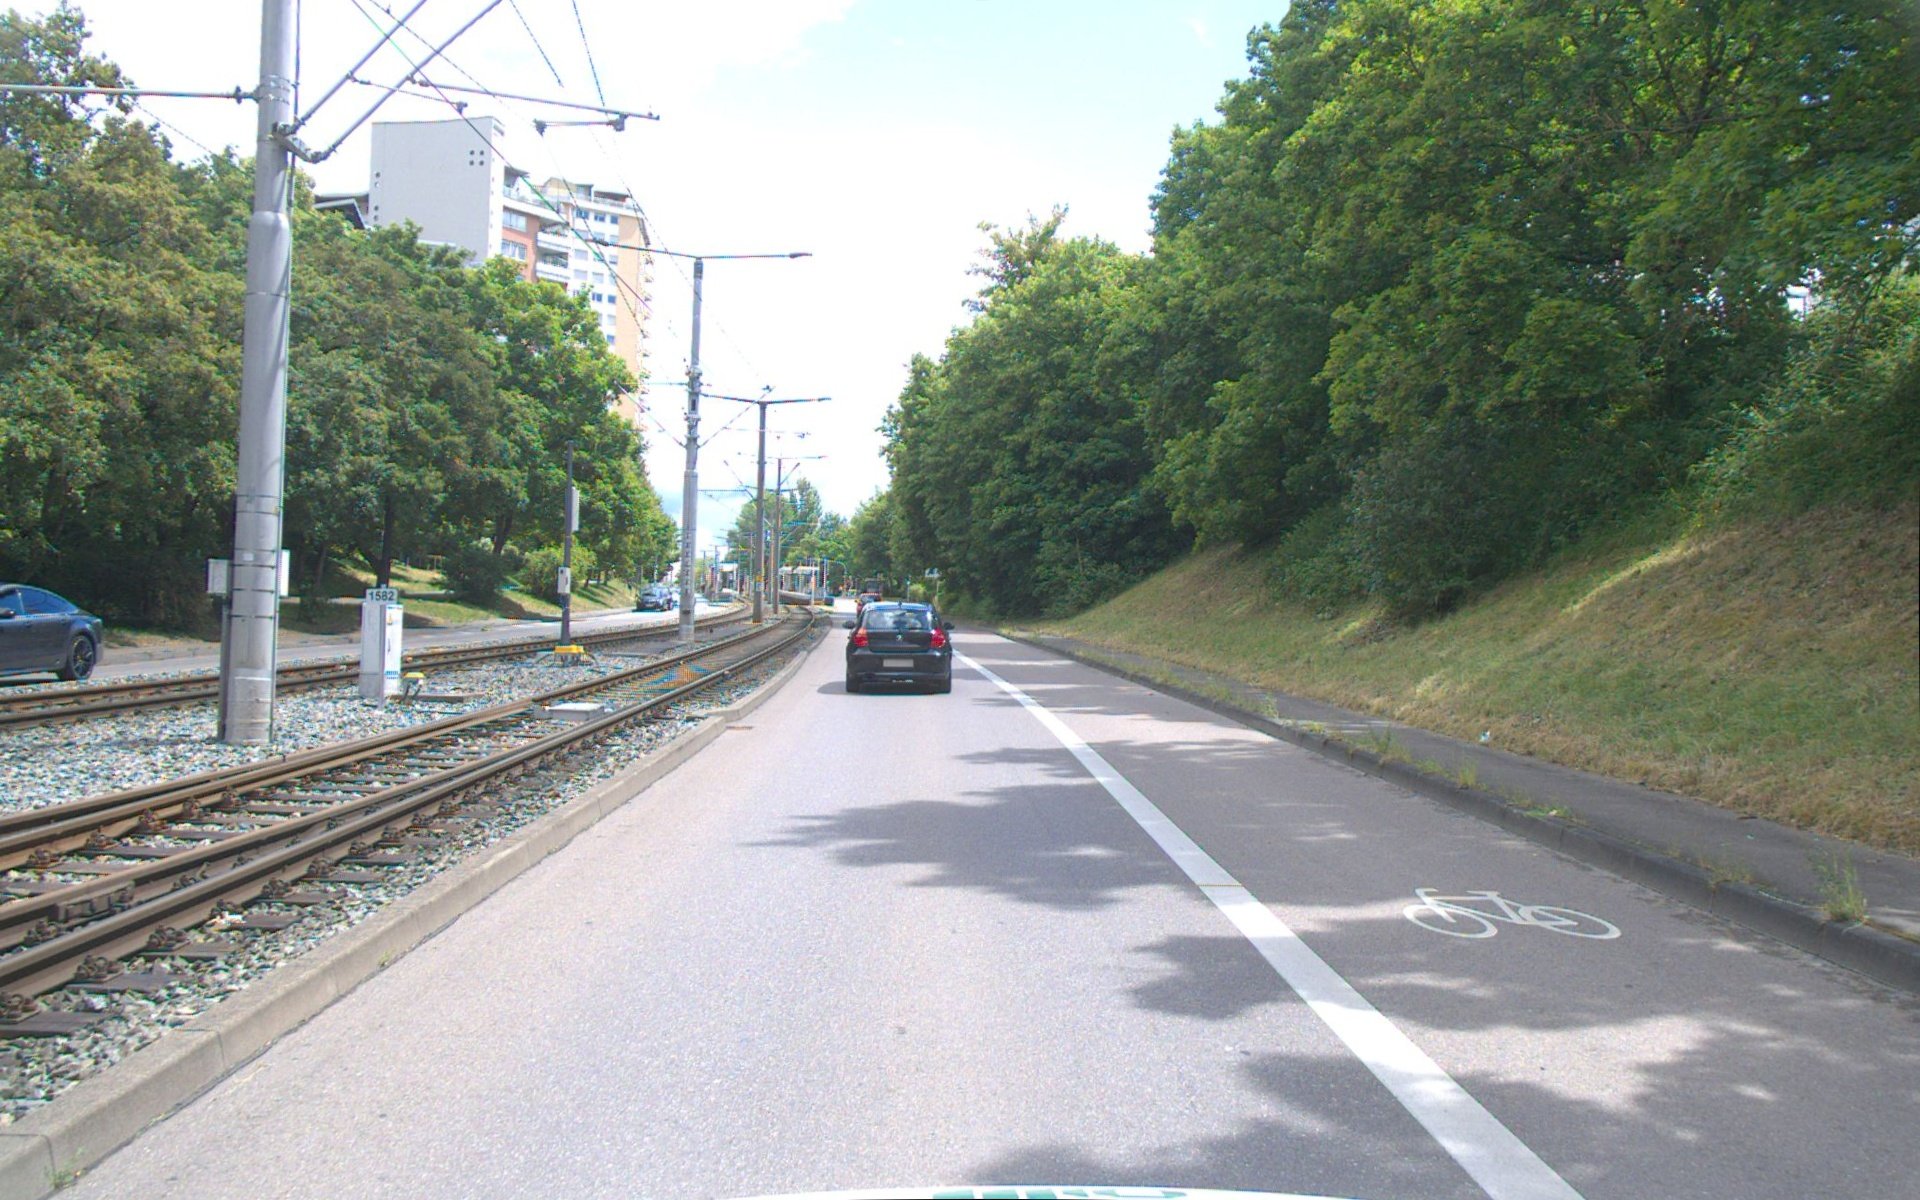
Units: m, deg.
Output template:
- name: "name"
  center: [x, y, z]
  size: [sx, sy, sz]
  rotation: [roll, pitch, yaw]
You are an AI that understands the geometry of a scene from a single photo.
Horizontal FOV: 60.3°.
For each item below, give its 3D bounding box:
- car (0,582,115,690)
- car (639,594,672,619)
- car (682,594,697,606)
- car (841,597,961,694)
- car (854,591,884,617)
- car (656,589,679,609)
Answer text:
- name: "car"
  center: [-13.483, 0.480, 22.193]
  size: [1.798, 1.415, 4.861]
  rotation: [-1, 0, 0]
- name: "car"
  center: [-19.592, 0.401, 106.570]
  size: [1.740, 1.525, 3.991]
  rotation: [1, 0, -6]
- name: "car"
  center: [-36.811, -0.008, 224.862]
  size: [1.687, 1.467, 3.927]
  rotation: [1, 0, -15]
- name: "car"
  center: [-1.045, 0.695, 27.400]
  size: [1.747, 1.485, 3.916]
  rotation: [0, 0, -6]
- name: "car"
  center: [-5.508, 0.240, 99.734]
  size: [1.746, 1.485, 3.918]
  rotation: [1, 0, -4]
- name: "car"
  center: [-23.006, -0.082, 130.117]
  size: [1.748, 1.559, 4.235]
  rotation: [0, 0, -9]
